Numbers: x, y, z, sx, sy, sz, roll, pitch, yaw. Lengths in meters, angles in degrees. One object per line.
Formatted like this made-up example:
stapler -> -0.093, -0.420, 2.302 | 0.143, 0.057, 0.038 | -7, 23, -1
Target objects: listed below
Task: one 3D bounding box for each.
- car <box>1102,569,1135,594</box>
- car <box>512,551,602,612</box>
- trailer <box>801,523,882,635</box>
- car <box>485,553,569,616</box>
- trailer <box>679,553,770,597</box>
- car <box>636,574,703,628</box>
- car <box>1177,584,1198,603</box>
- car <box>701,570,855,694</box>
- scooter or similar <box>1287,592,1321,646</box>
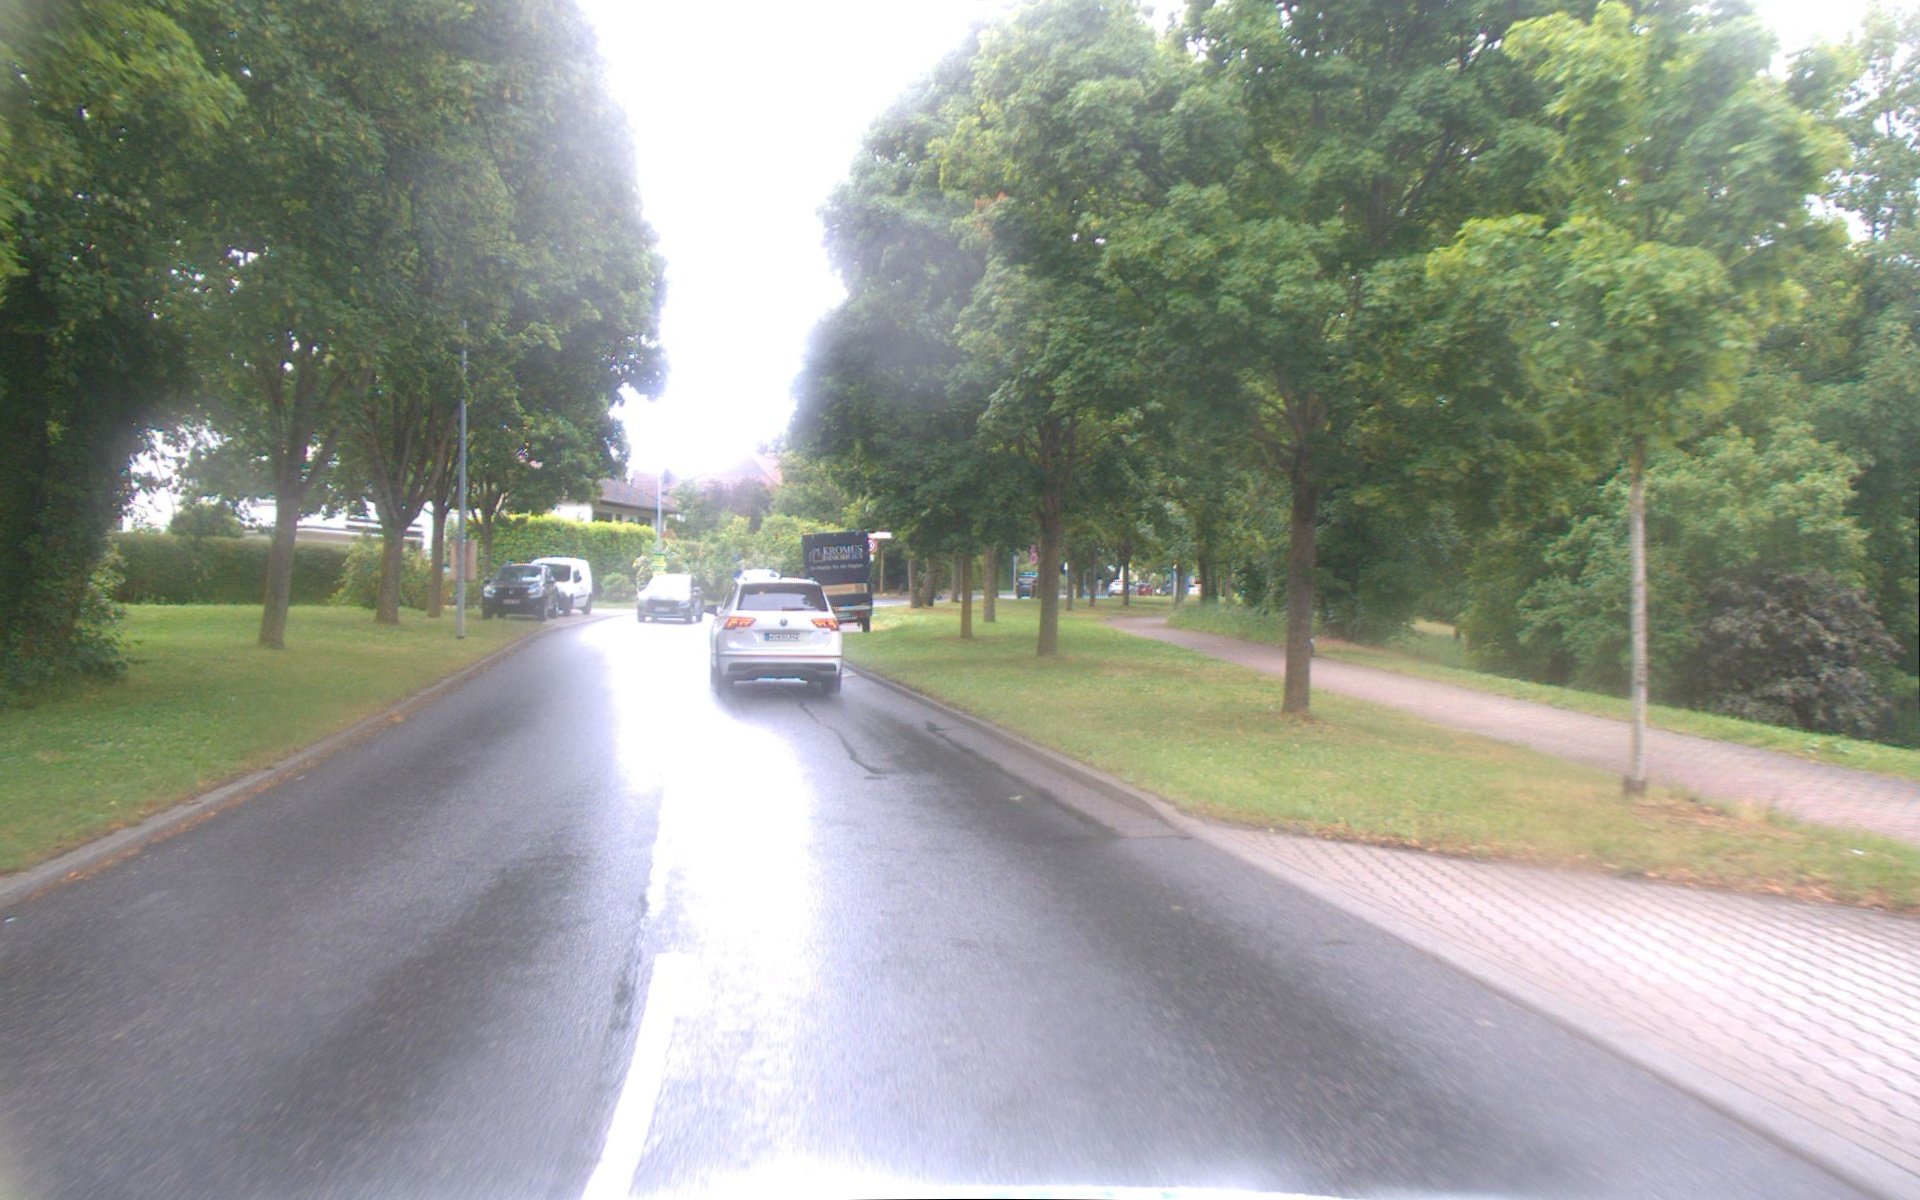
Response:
car -> 12.839, -1.490, 134.004 | 1.951, 1.836, 4.003 | 3, 0, 15
car -> -13.098, -0.611, 53.984 | 1.761, 1.827, 4.373 | 2, 1, 1
trailer -> -3.442, -0.621, 47.295 | 1.955, 2.856, 5.602 | -4, 1, -6
car -> -12.699, -0.439, 48.756 | 1.717, 1.669, 4.585 | 3, 0, -7
trailer -> -12.802, -1.369, 90.069 | 4.522, 2.209, 1.816 | 2, 1, 13
car -> -9.623, -0.003, 54.973 | 1.755, 1.564, 4.089 | 3, 1, -5
car -> 24.242, -0.668, 176.205 | 1.951, 1.839, 4.003 | 3, 0, 11
car -> -2.819, 0.407, 24.904 | 1.939, 1.681, 4.165 | -1, 1, -11
scooter or similar -> 7.766, 0.419, 37.319 | 0.454, 1.166, 1.300 | -1, 1, -2
